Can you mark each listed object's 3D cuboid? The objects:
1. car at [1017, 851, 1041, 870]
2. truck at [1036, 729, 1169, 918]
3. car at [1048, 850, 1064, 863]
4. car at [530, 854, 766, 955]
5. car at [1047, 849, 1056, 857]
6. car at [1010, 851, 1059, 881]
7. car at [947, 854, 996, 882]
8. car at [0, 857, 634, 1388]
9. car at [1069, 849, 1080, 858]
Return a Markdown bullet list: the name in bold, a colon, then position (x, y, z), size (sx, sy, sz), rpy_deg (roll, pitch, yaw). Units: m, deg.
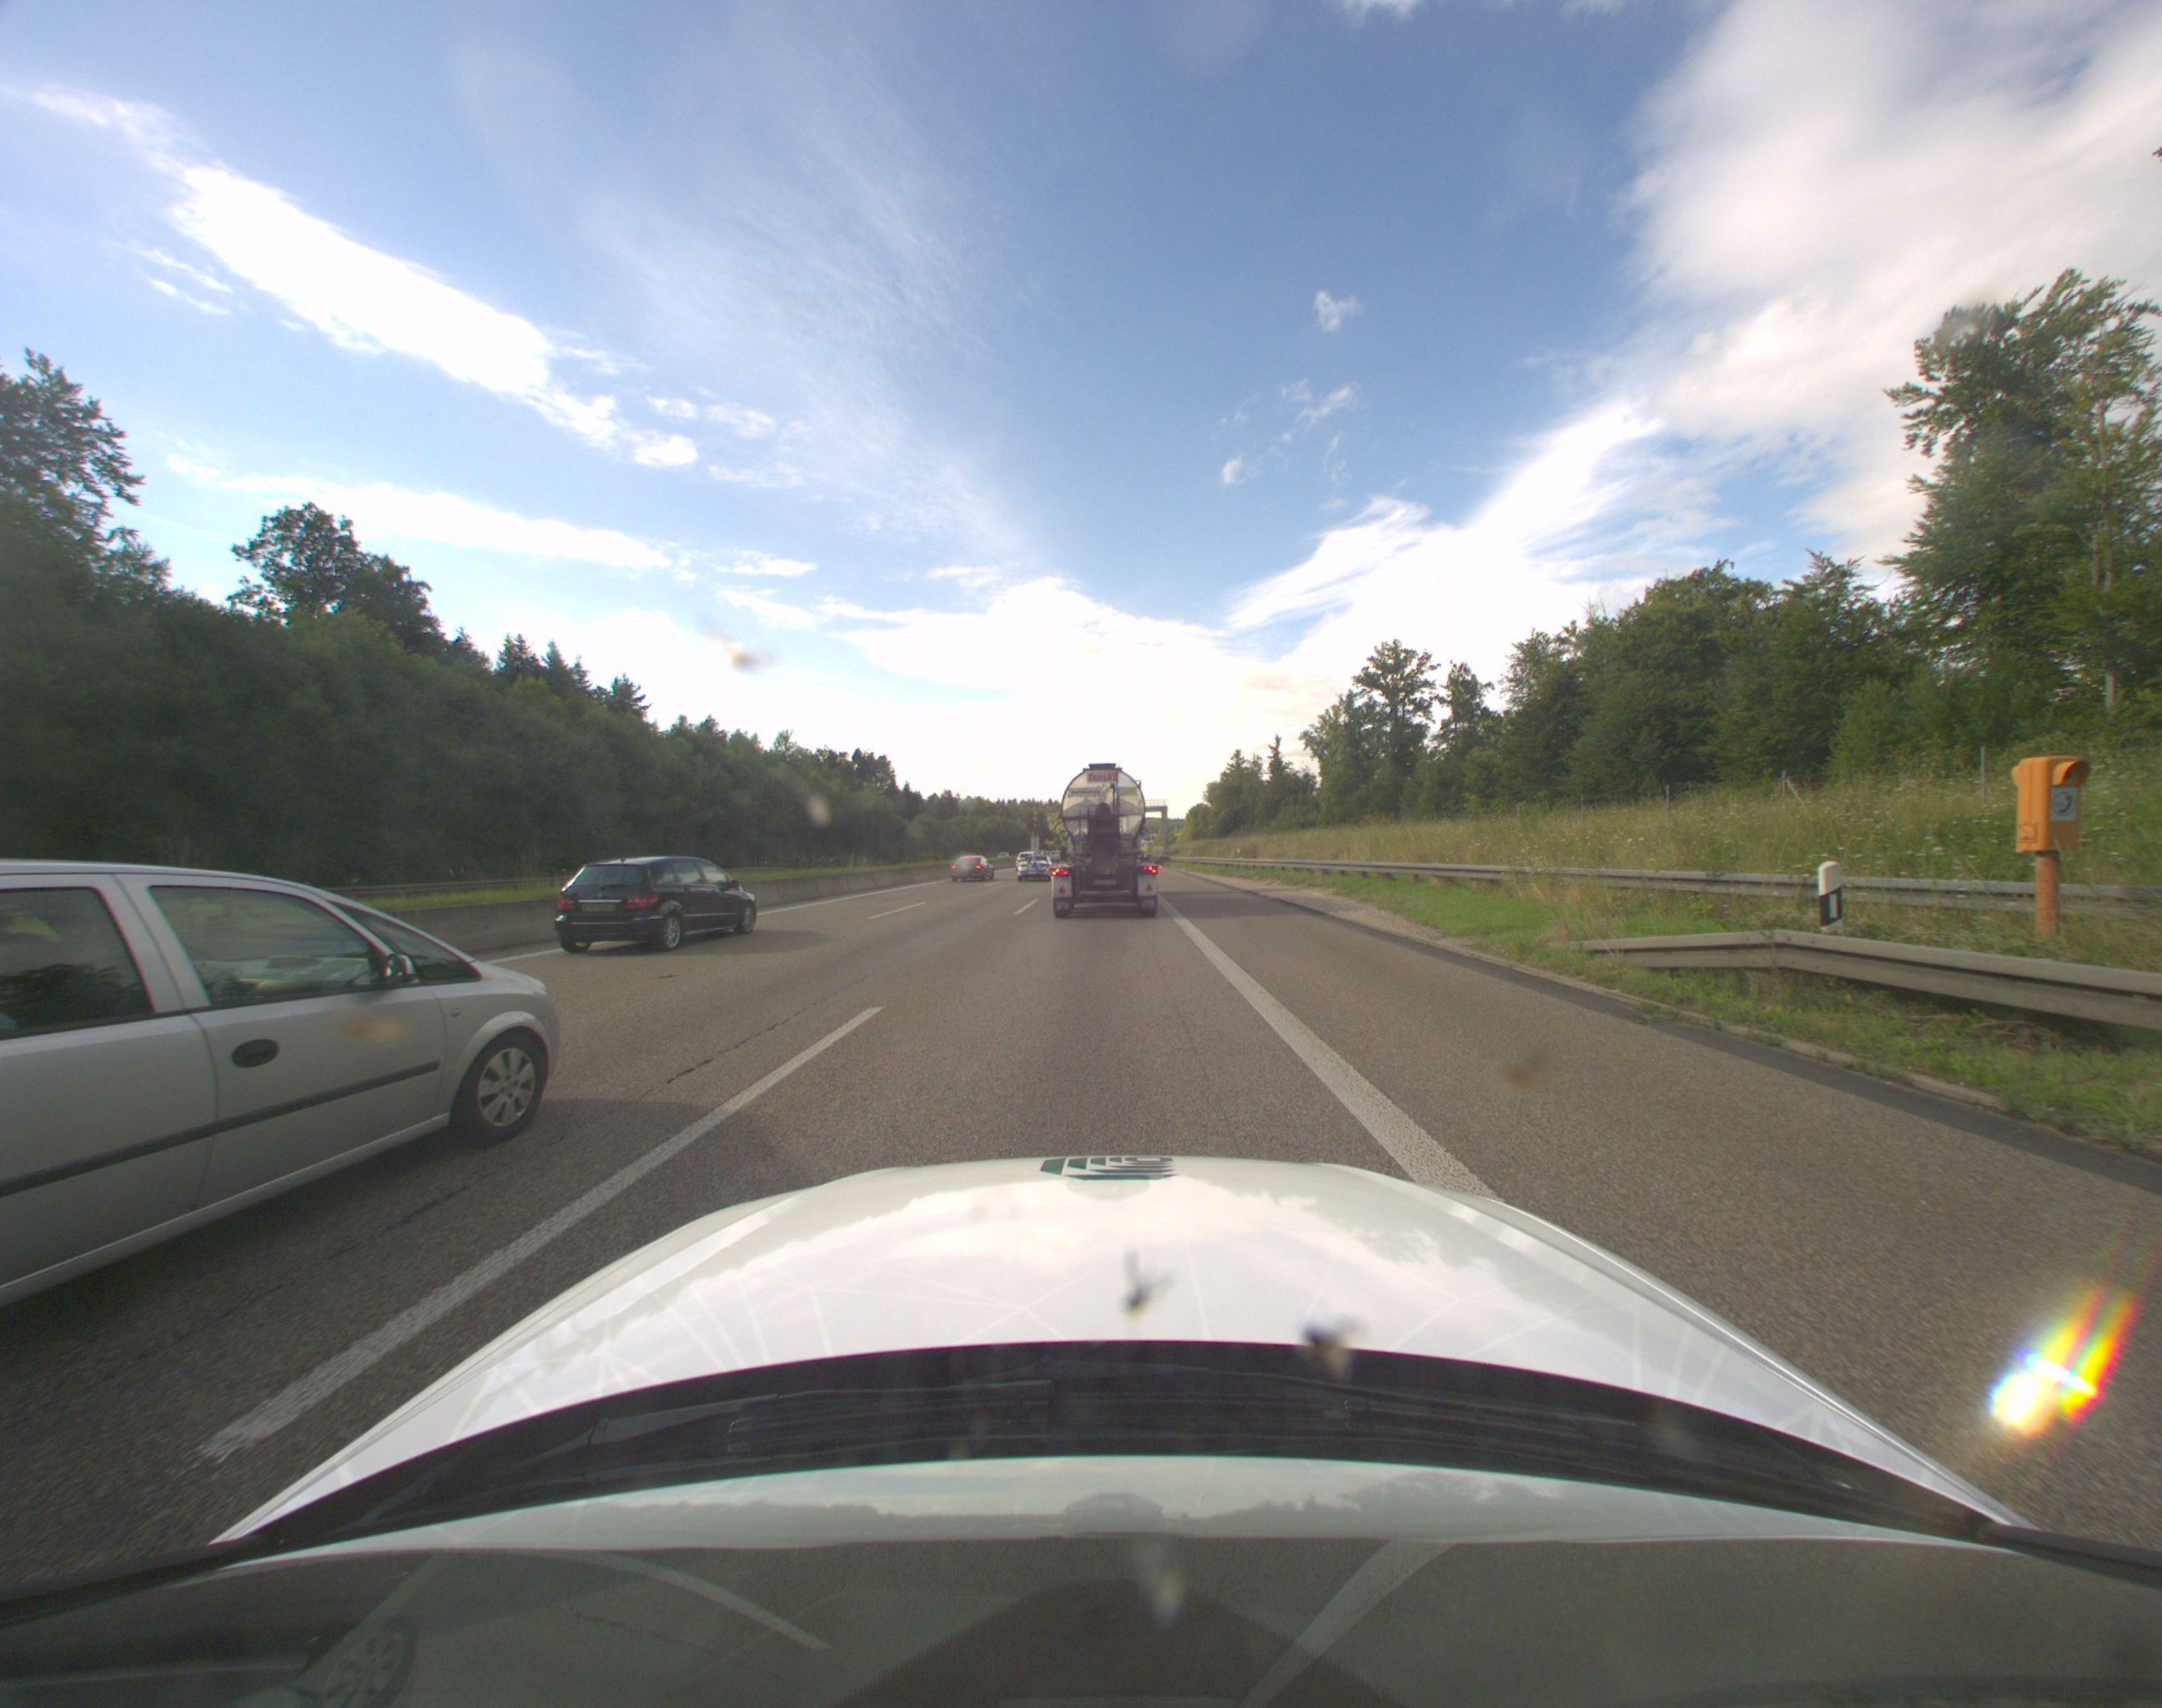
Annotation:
- **car**: position (-4.210, 0.513, 66.682), size (1.612, 1.544, 3.521), rpy_deg (-1, 0, 2)
- **truck**: position (0.725, -0.711, 23.855), size (2.901, 4.157, 11.277), rpy_deg (-1, 0, 2)
- **car**: position (-3.124, 0.279, 103.504), size (1.800, 1.585, 4.209), rpy_deg (-1, 1, 2)
- **car**: position (-7.582, 0.792, 14.858), size (1.828, 1.517, 4.335), rpy_deg (-1, 0, 2)
- **car**: position (-7.250, -0.259, 202.437), size (1.986, 2.013, 4.073), rpy_deg (-1, 0, 1)
- **car**: position (-2.444, 0.622, 44.454), size (2.052, 1.499, 5.739), rpy_deg (-1, 0, 2)
- **car**: position (-5.950, 0.722, 44.830), size (1.849, 1.431, 4.844), rpy_deg (-1, 0, 2)
- **car**: position (-4.031, 0.807, 3.352), size (1.828, 1.517, 4.335), rpy_deg (-1, 0, 2)
- **car**: position (-1.197, -0.121, 149.454), size (1.935, 1.585, 4.209), rpy_deg (-1, 1, 2)
